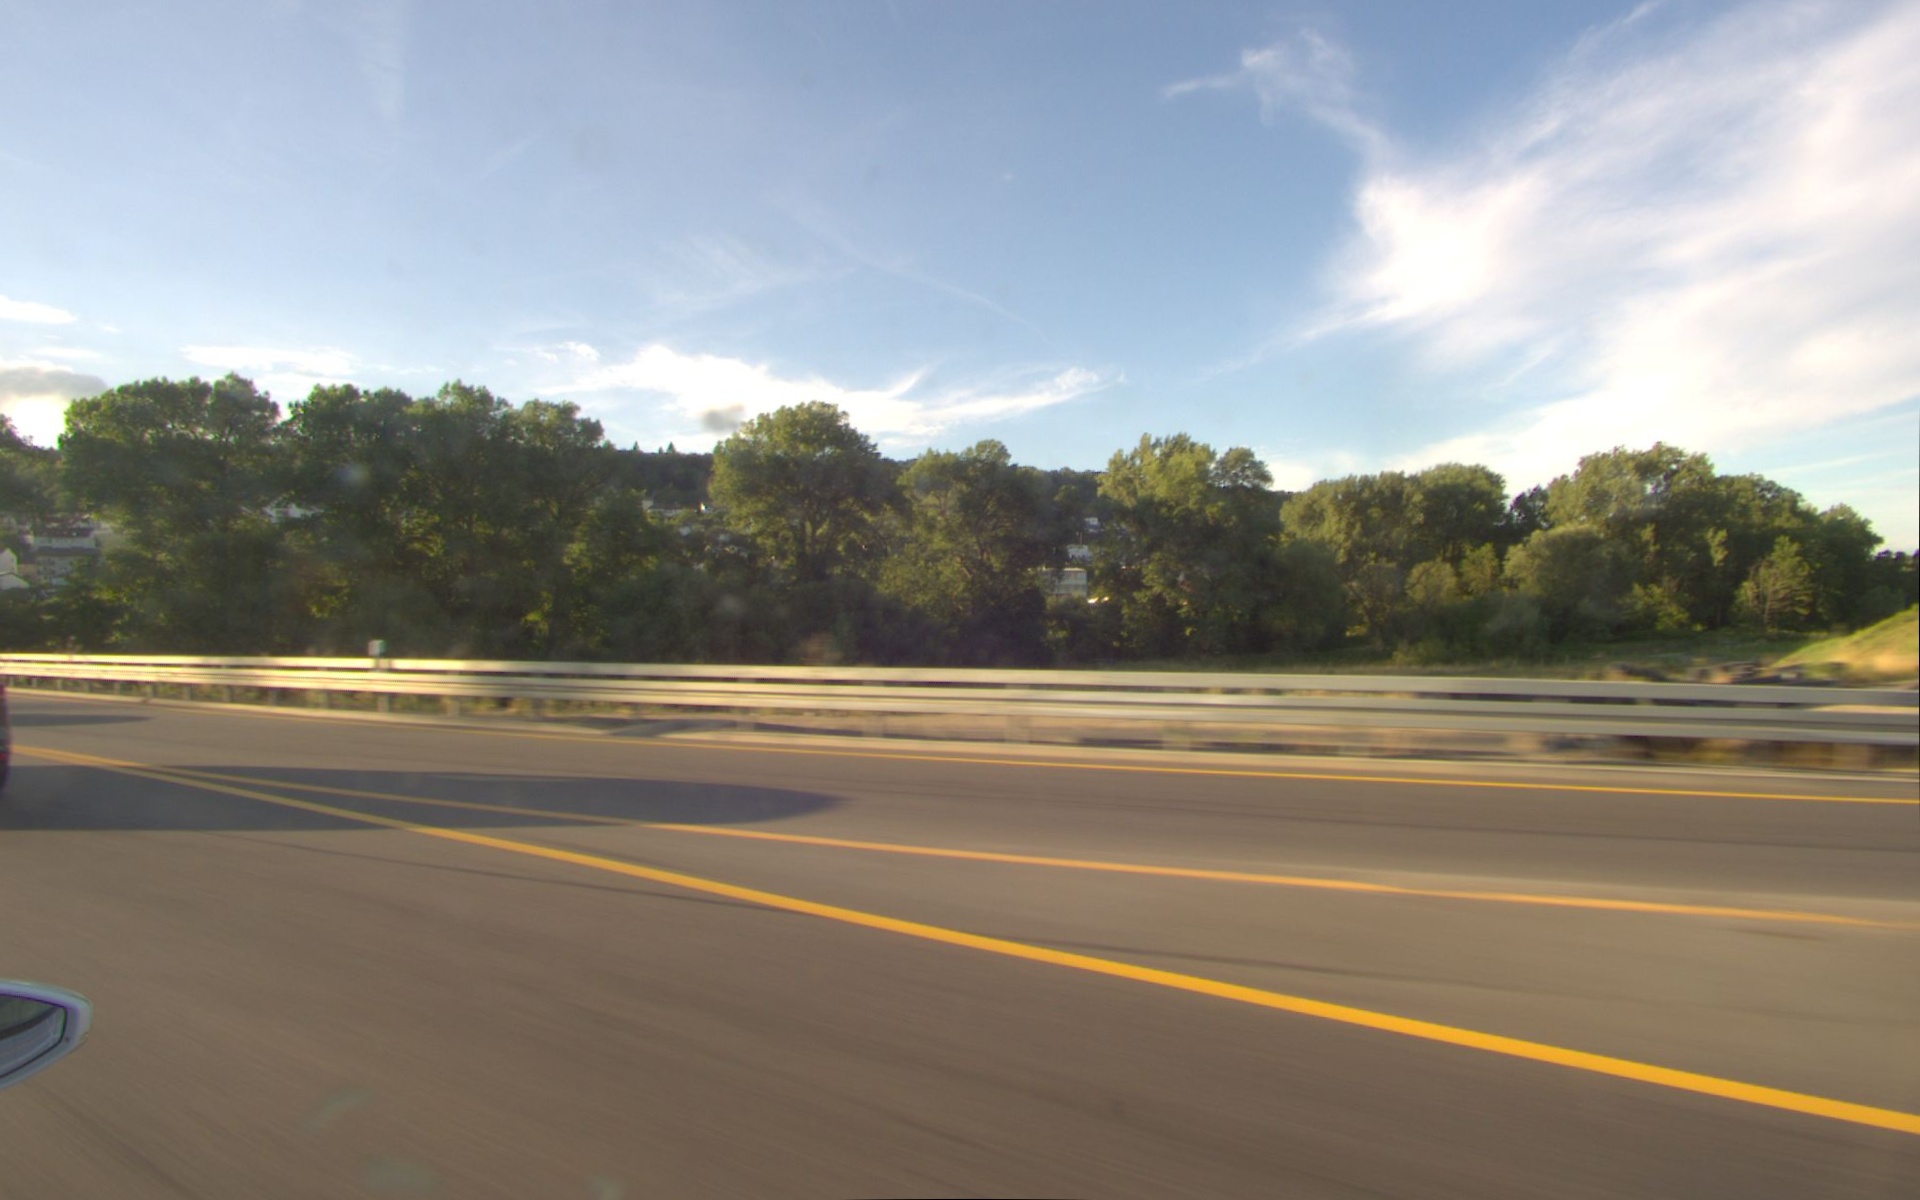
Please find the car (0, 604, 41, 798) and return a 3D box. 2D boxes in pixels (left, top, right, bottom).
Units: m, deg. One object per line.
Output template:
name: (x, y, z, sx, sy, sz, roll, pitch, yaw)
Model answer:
car: (-10.320, 0.889, 9.055, 4.461, 1.635, 1.810, -2, -3, 32)
